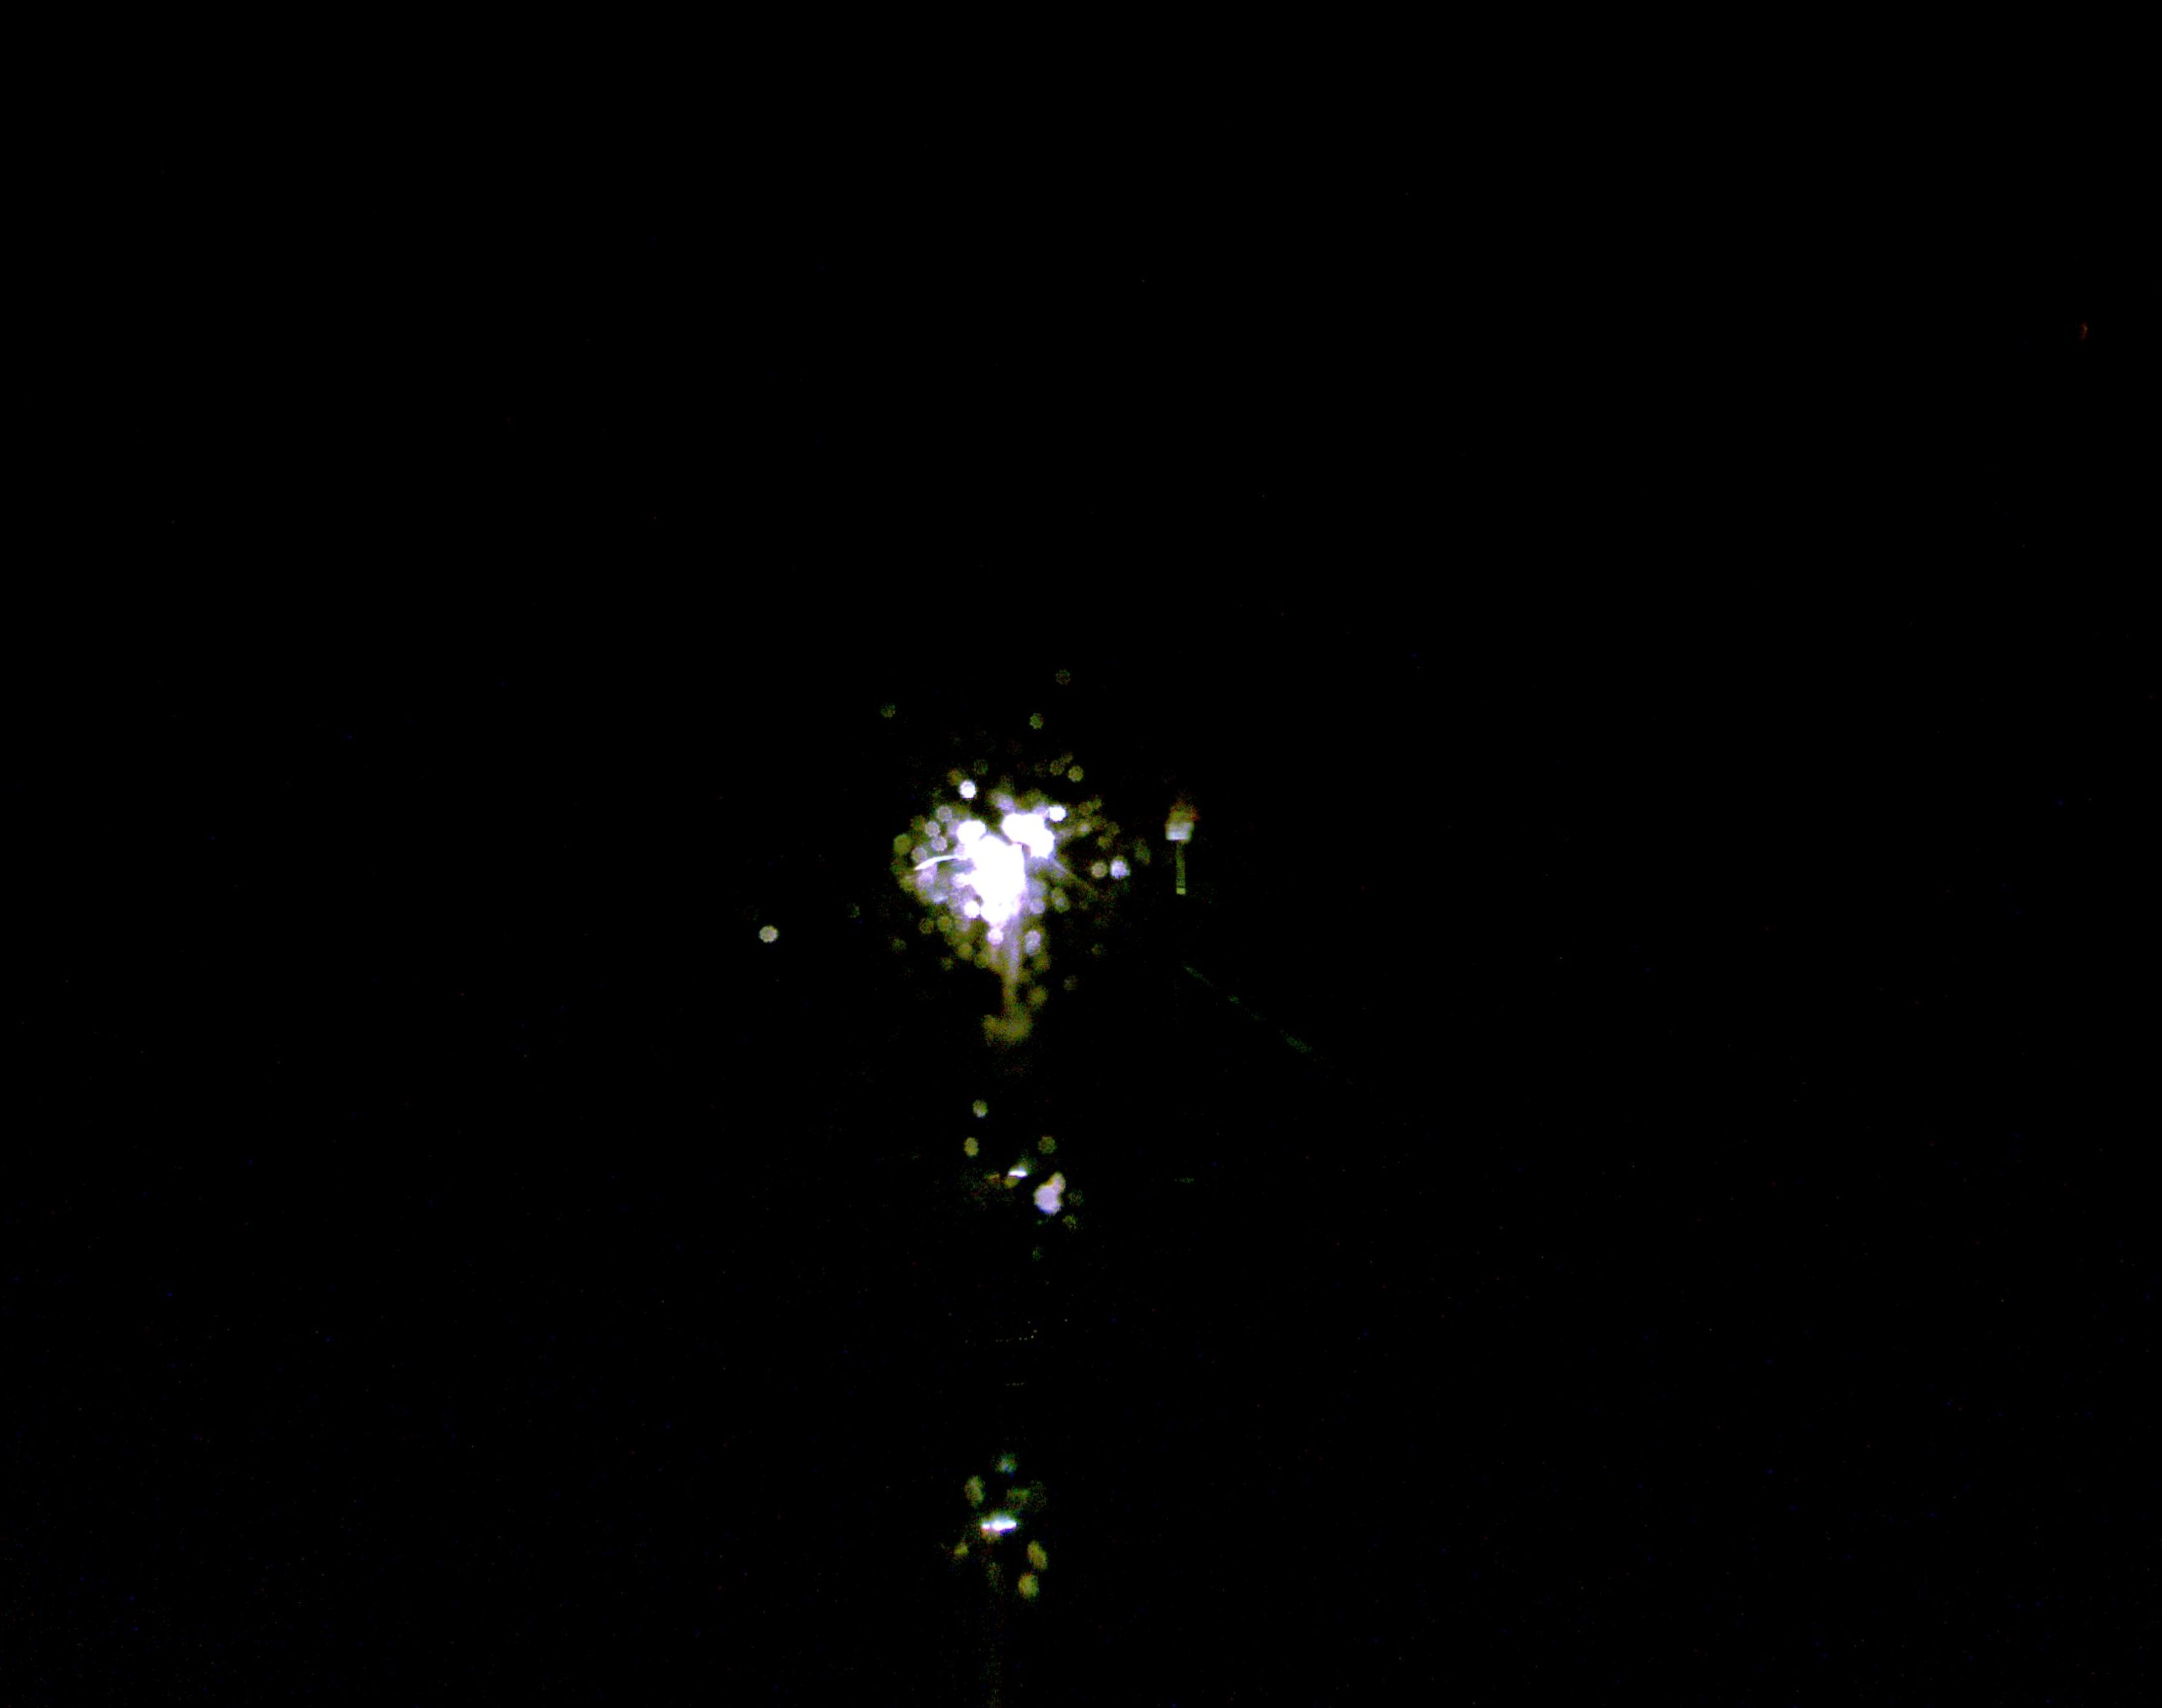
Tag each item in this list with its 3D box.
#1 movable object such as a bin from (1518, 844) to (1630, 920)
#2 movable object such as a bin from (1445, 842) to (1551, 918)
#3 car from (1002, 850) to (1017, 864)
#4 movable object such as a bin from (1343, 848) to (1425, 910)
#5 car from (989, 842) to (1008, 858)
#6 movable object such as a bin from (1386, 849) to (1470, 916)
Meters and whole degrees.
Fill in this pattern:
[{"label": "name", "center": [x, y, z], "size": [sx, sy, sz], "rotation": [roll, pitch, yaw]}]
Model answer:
[{"label": "movable object such as a bin", "center": [9.064, 0.505, 15.007], "size": [1.256, 1.299, 1.304], "rotation": [-2, -1, -33]}, {"label": "movable object such as a bin", "center": [8.247, 0.507, 16.132], "size": [1.256, 1.413, 1.377], "rotation": [-2, -1, -33]}, {"label": "car", "center": [-9.507, 0.377, 108.420], "size": [1.885, 1.586, 3.996], "rotation": [-3, 1, -3]}, {"label": "movable object such as a bin", "center": [6.893, 0.552, 18.561], "size": [1.183, 1.309, 1.307], "rotation": [-3, 1, -41]}, {"label": "car", "center": [-9.327, -0.455, 92.288], "size": [1.885, 1.671, 3.996], "rotation": [-3, 1, -3]}, {"label": "movable object such as a bin", "center": [7.350, 0.580, 17.264], "size": [1.159, 1.325, 1.218], "rotation": [-2, 1, -38]}]
